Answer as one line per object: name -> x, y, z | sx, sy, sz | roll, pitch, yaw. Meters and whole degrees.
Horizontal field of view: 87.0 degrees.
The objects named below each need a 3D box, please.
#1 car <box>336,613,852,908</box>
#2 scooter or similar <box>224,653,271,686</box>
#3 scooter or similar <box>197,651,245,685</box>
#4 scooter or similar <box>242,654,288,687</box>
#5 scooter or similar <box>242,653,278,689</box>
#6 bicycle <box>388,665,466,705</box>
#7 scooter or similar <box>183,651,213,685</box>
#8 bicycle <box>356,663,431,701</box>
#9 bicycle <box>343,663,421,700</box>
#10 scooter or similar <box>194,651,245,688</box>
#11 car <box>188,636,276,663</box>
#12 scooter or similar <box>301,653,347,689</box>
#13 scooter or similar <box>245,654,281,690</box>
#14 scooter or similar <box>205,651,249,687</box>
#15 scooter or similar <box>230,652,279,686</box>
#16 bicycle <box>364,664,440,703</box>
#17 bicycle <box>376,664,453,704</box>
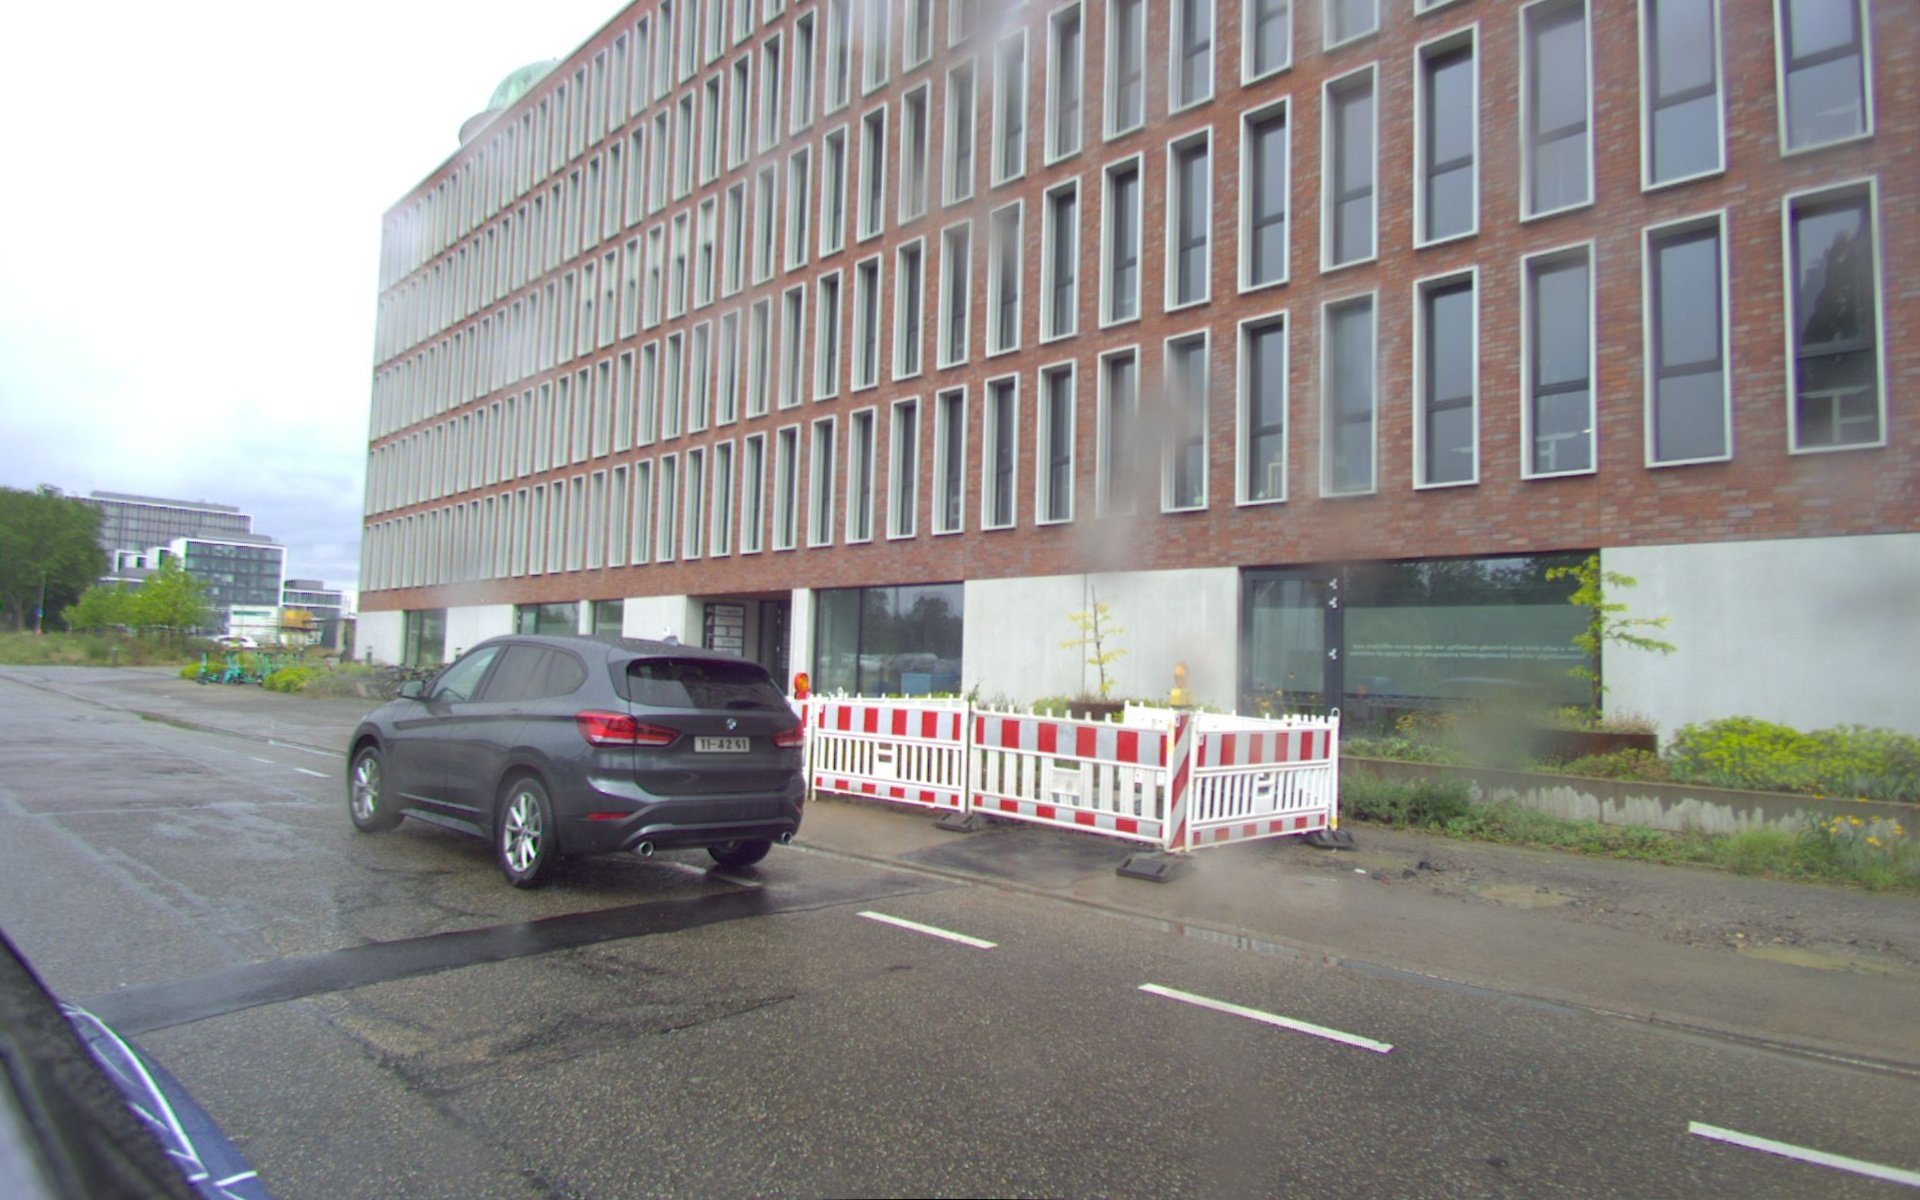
car -> -2.881, 1.005, 7.506 | 4.148, 1.581, 1.741 | -2, -8, 42
scooter or similar -> -27.040, 2.650, 38.417 | 1.301, 1.186, 0.468 | 7, -6, -44
scooter or similar -> -28.128, 2.594, 38.551 | 1.299, 1.239, 0.509 | 3, -5, -11
scooter or similar -> -26.335, 2.657, 38.346 | 1.301, 1.186, 0.468 | 7, -6, -44
scooter or similar -> -24.905, 2.520, 36.038 | 0.460, 1.239, 1.210 | 3, -5, -7
bicycle -> -14.978, 2.377, 28.490 | 0.544, 1.085, 1.840 | -1, -3, 39
scooter or similar -> -28.209, 2.513, 37.479 | 1.319, 1.239, 0.461 | -1, -6, 38
bicycle -> -16.779, 2.416, 30.013 | 0.544, 1.085, 1.840 | -1, -3, 39
bicycle -> -17.427, 2.442, 30.550 | 0.620, 1.085, 1.929 | -1, -3, 39
scooter or similar -> -26.172, 2.462, 35.788 | 1.298, 1.239, 0.469 | 4, -5, -20
car -> -50.251, 3.439, 69.895 | 1.997, 1.653, 4.478 | 0, -5, 38
scooter or similar -> -22.303, 2.485, 35.485 | 1.211, 1.217, 0.418 | 7, -6, -42
scooter or similar -> -24.462, 2.529, 35.525 | 0.460, 1.217, 1.210 | 3, -5, -7
scooter or similar -> -26.874, 2.536, 37.117 | 1.307, 1.239, 0.465 | 1, -5, 12
scooter or similar -> -25.671, 2.525, 36.830 | 0.465, 1.186, 1.308 | 0, -5, 28
bicycle -> -16.281, 2.416, 29.581 | 0.544, 1.085, 1.840 | -1, -3, 39
bicycle -> -15.597, 2.398, 28.994 | 0.544, 1.085, 1.840 | -1, -3, 39
